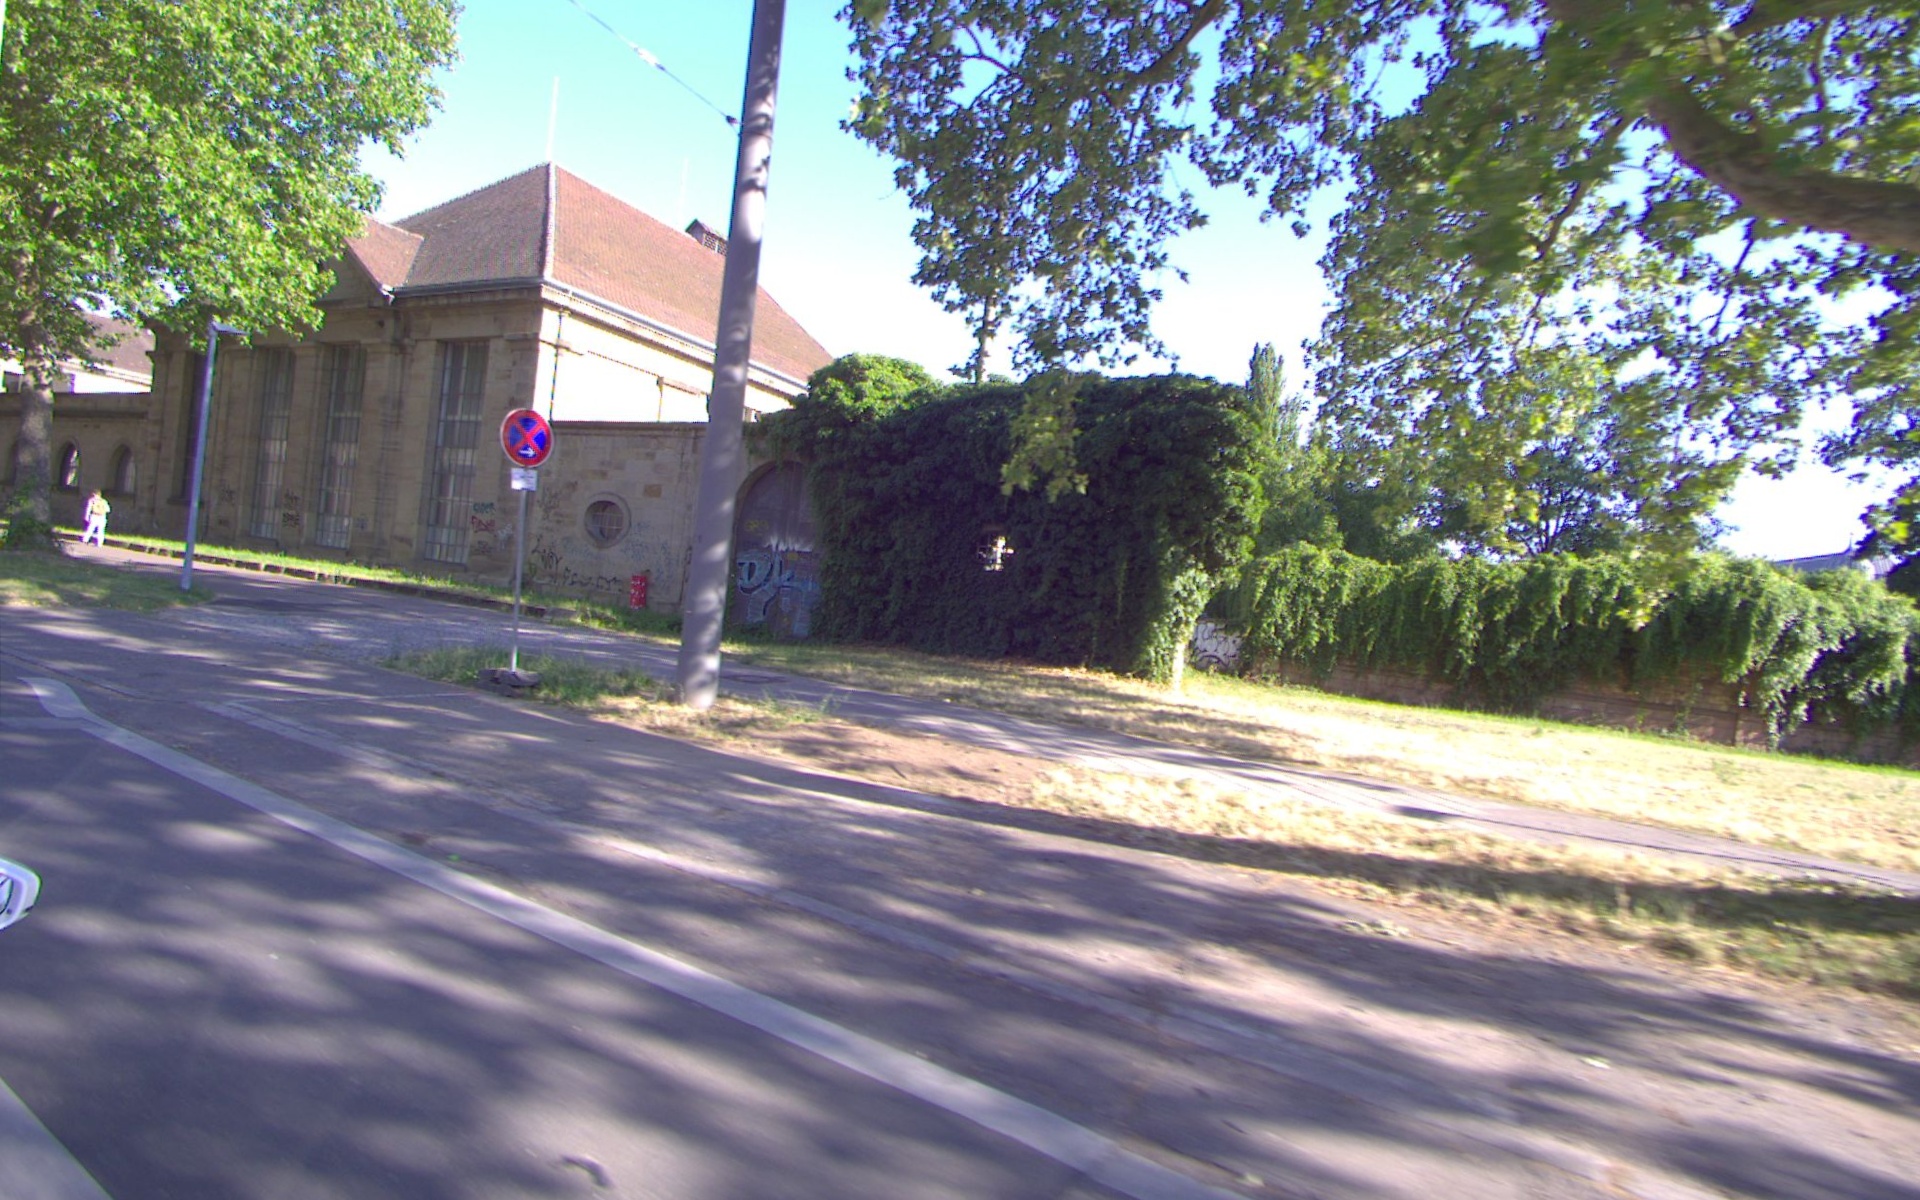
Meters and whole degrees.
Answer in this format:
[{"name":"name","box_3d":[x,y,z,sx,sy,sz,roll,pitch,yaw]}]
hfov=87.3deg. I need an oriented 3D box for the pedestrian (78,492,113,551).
[{"name":"pedestrian","box_3d":[-26.063,-2.364,30.341,0.625,1.706,0.608,7,5,28]}]
